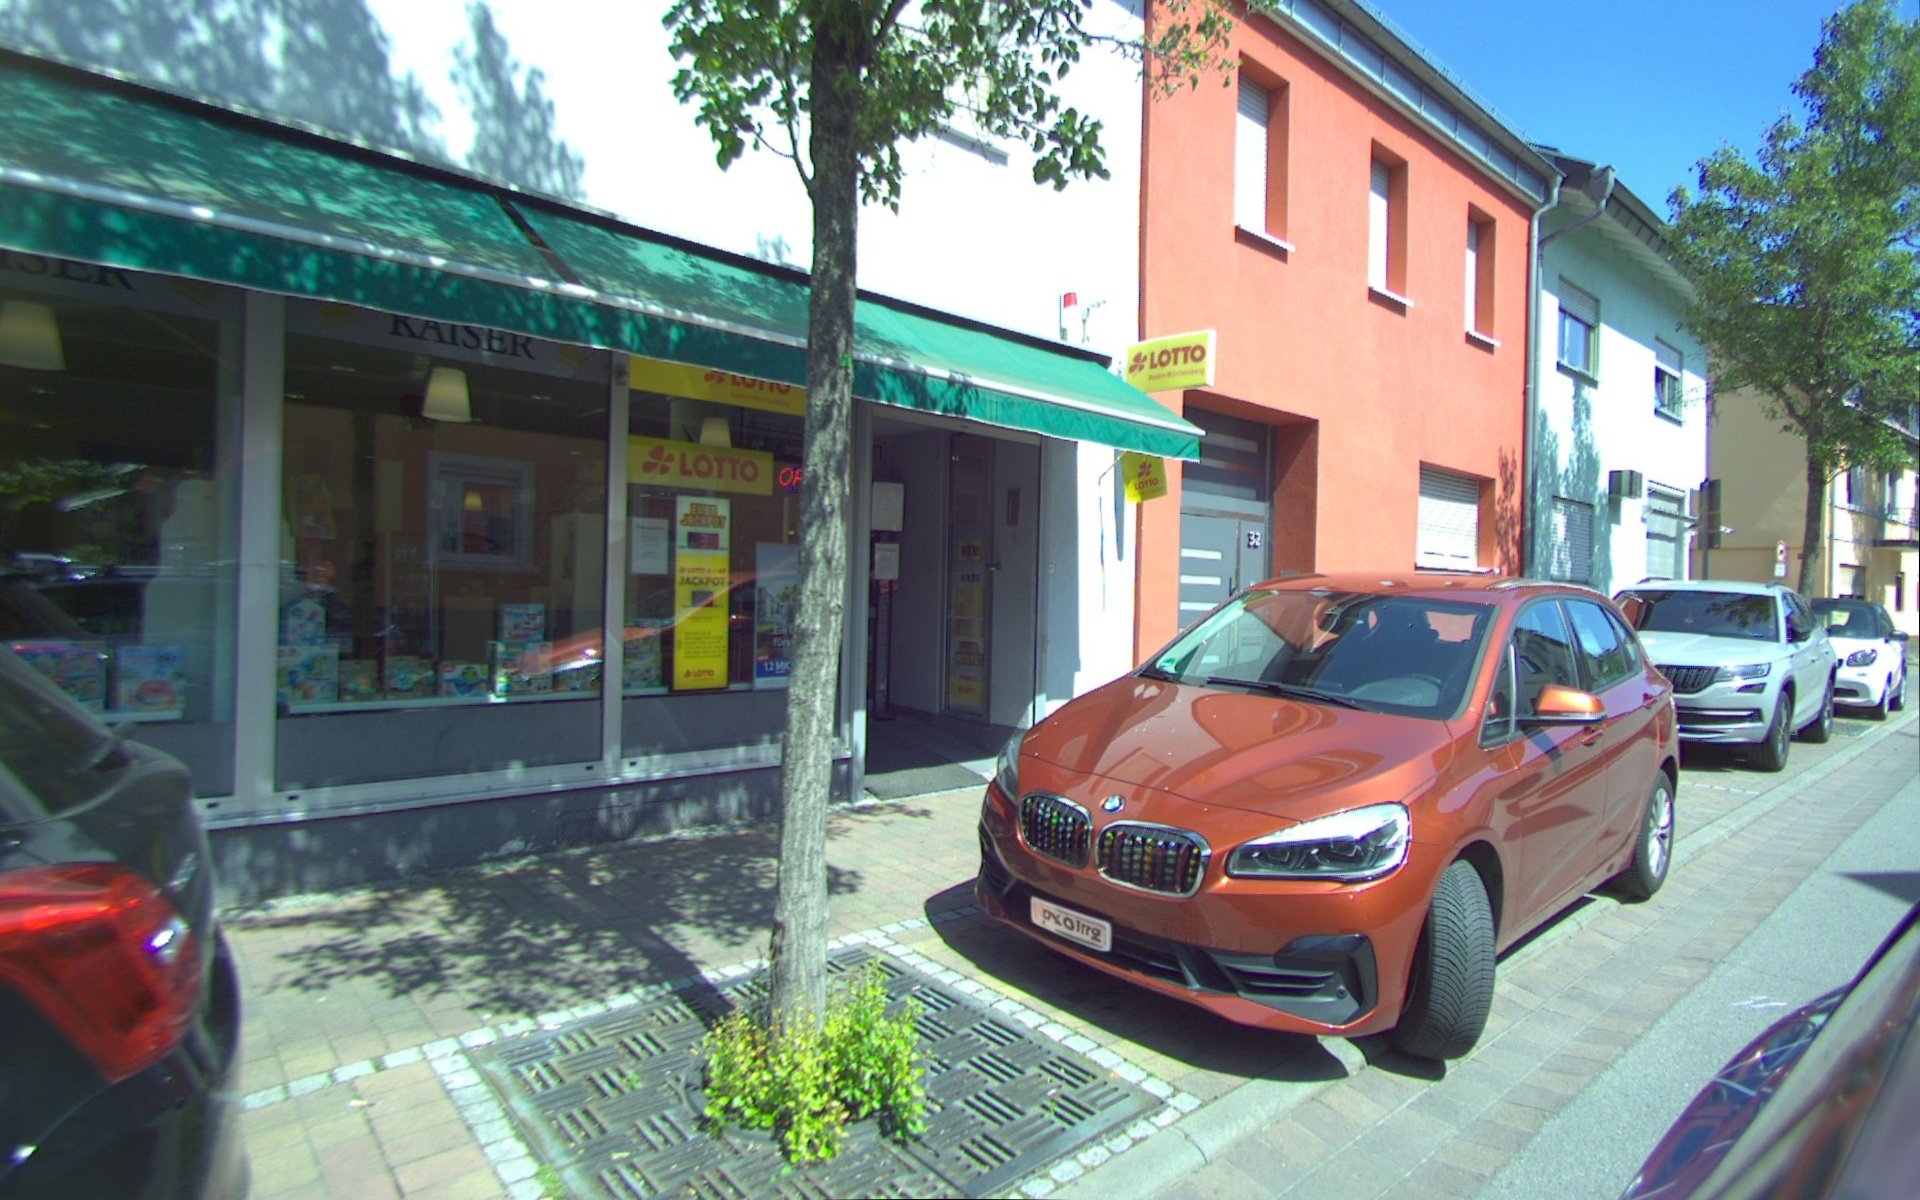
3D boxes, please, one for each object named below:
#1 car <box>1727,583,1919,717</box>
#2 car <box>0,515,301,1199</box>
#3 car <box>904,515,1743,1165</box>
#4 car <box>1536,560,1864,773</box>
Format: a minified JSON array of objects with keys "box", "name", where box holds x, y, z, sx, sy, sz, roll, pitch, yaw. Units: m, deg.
[{"box":[12.558,0.613,14.481,3.928,1.562,1.714,0,4,-42],"name":"car"},{"box":[-2.901,0.588,0.866,3.670,1.532,1.740,2,1,-42],"name":"car"},{"box":[1.904,0.583,4.540,4.018,1.608,1.832,1,2,-42],"name":"car"},{"box":[7.722,0.560,10.365,4.582,1.706,1.869,1,-1,-43],"name":"car"}]
